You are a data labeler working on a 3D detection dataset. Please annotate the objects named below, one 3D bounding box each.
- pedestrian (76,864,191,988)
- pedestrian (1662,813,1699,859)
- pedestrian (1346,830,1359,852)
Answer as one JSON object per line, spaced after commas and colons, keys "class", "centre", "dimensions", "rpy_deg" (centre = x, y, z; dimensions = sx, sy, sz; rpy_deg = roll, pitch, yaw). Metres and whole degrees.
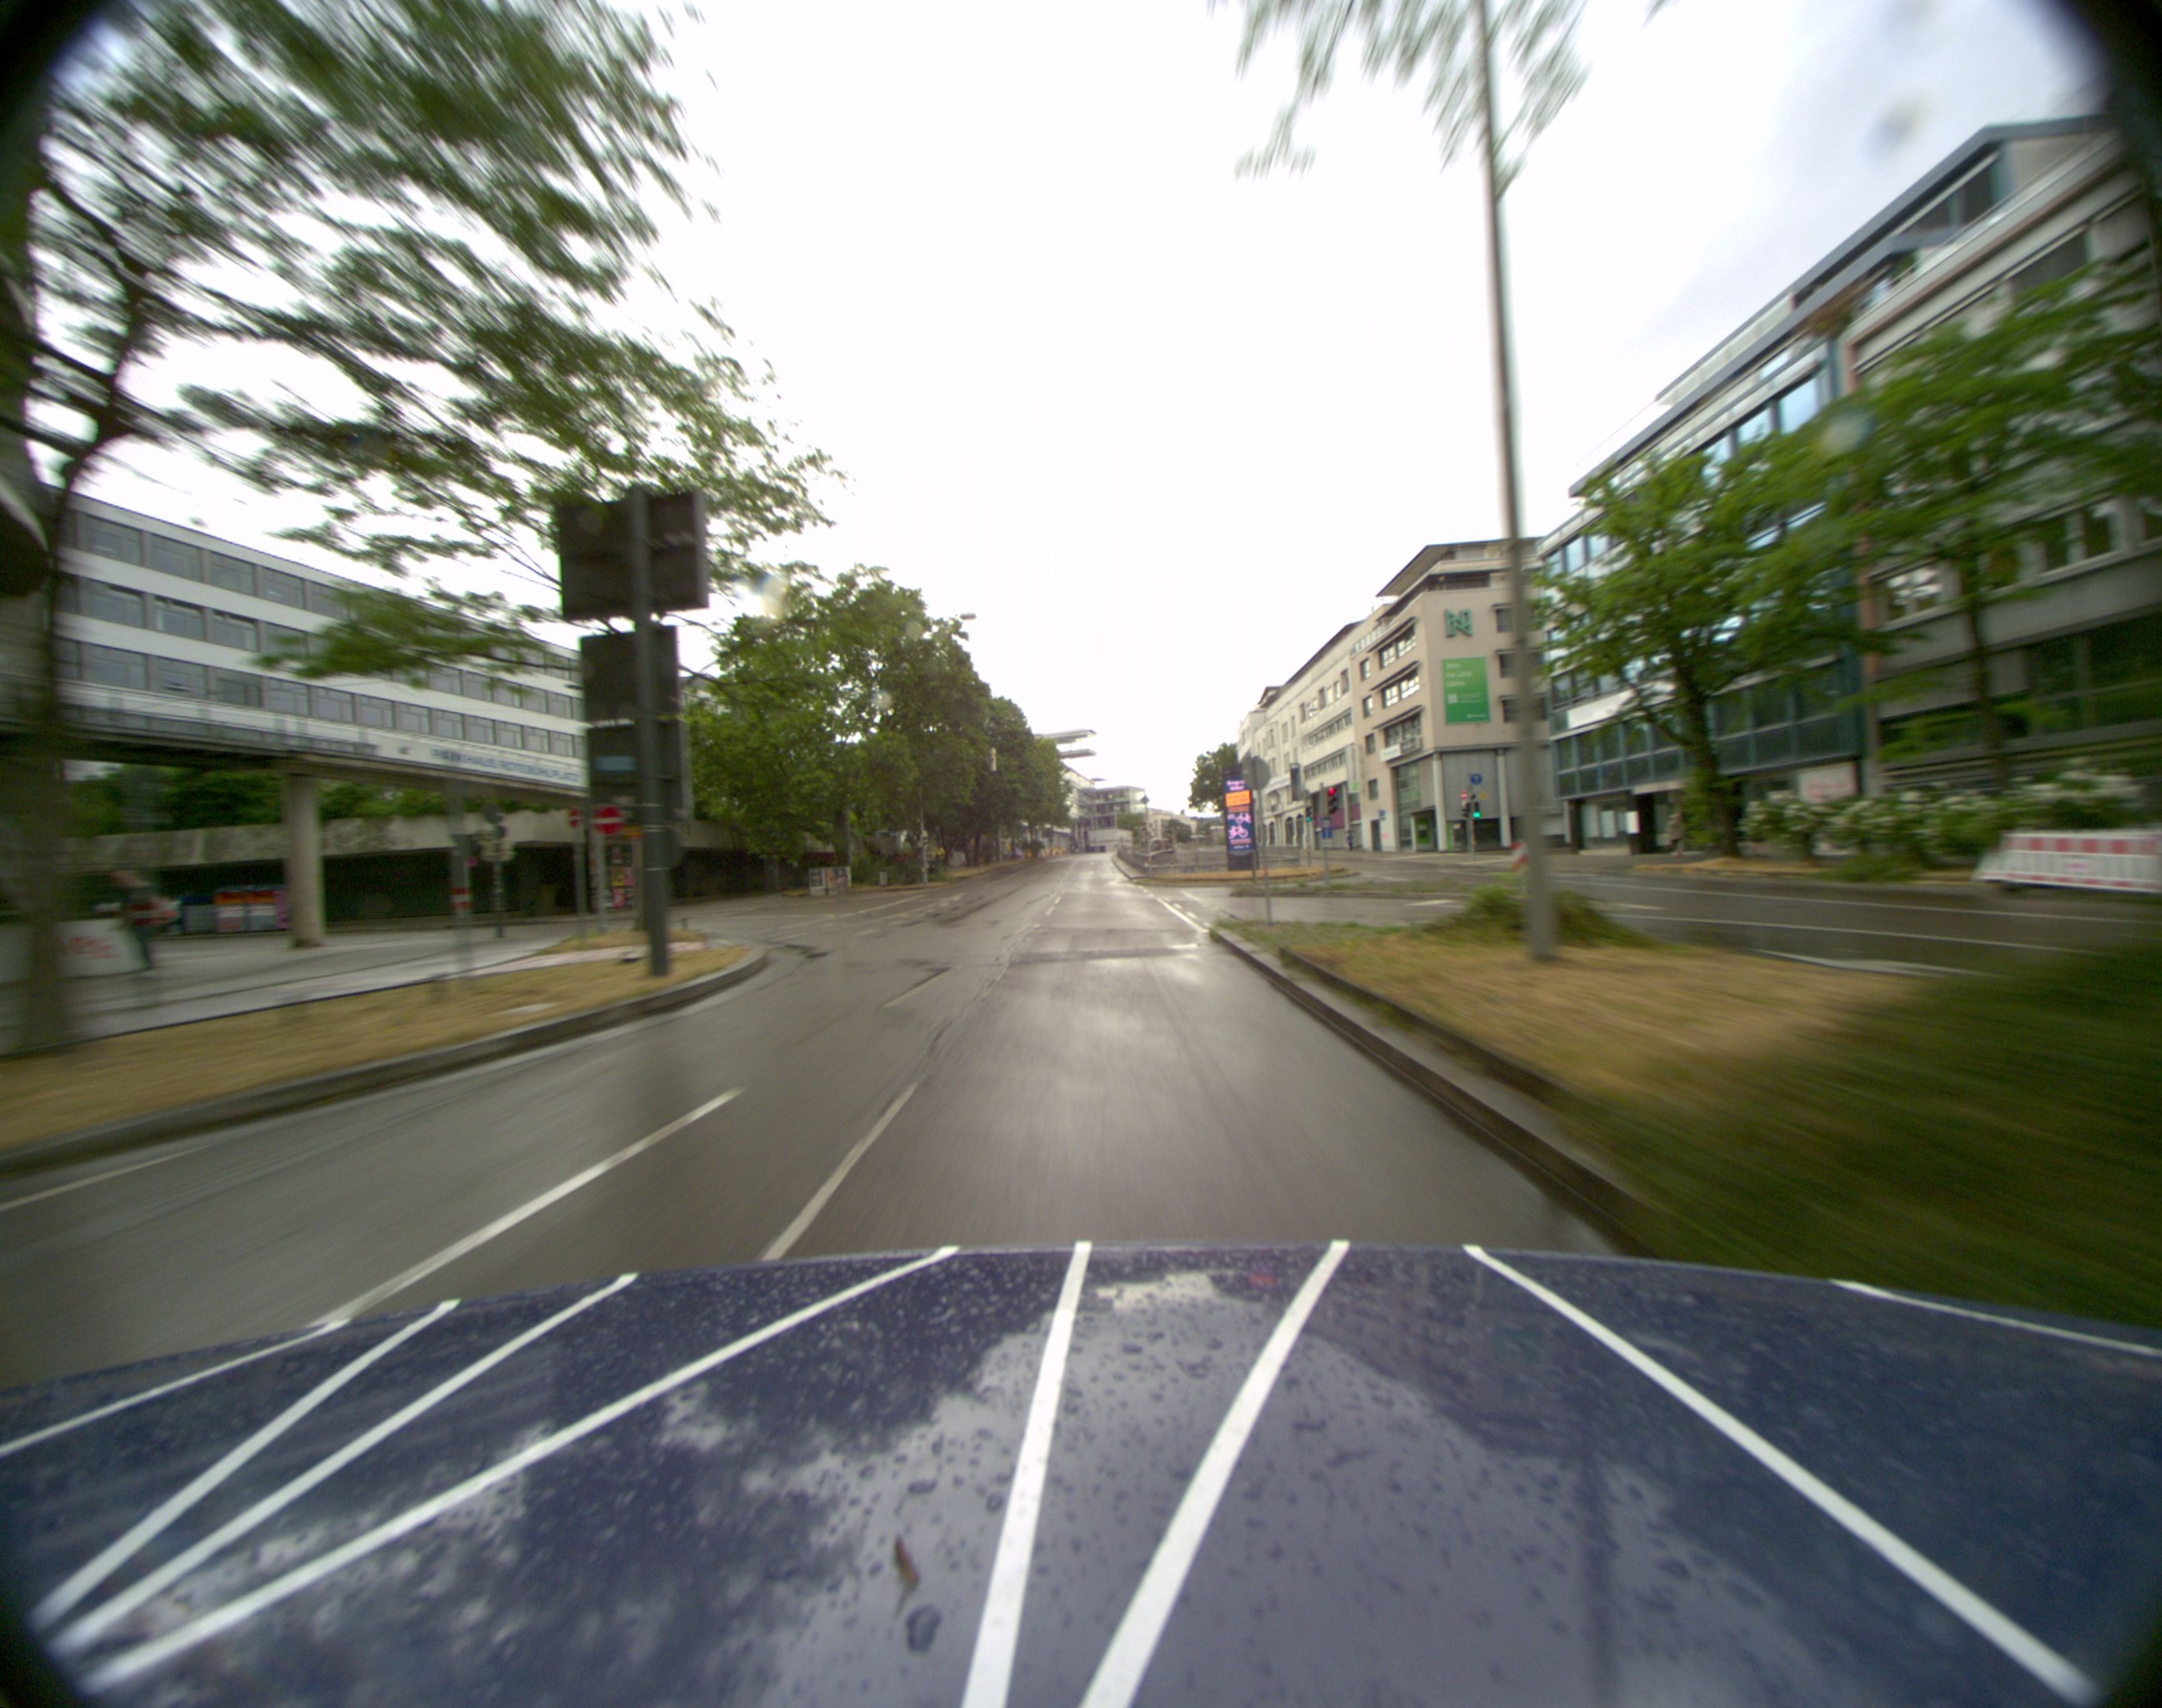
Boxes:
{"class": "pedestrian", "centre": [-16.184, 1.208, 12.996], "dimensions": [0.871, 2.002, 0.758], "rpy_deg": [-3, 1, 1]}
{"class": "pedestrian", "centre": [22.823, -0.676, 28.943], "dimensions": [0.740, 1.704, 0.757], "rpy_deg": [-3, 1, 1]}
{"class": "pedestrian", "centre": [22.009, -1.061, 61.557], "dimensions": [0.695, 1.718, 0.803], "rpy_deg": [-3, 1, -1]}
